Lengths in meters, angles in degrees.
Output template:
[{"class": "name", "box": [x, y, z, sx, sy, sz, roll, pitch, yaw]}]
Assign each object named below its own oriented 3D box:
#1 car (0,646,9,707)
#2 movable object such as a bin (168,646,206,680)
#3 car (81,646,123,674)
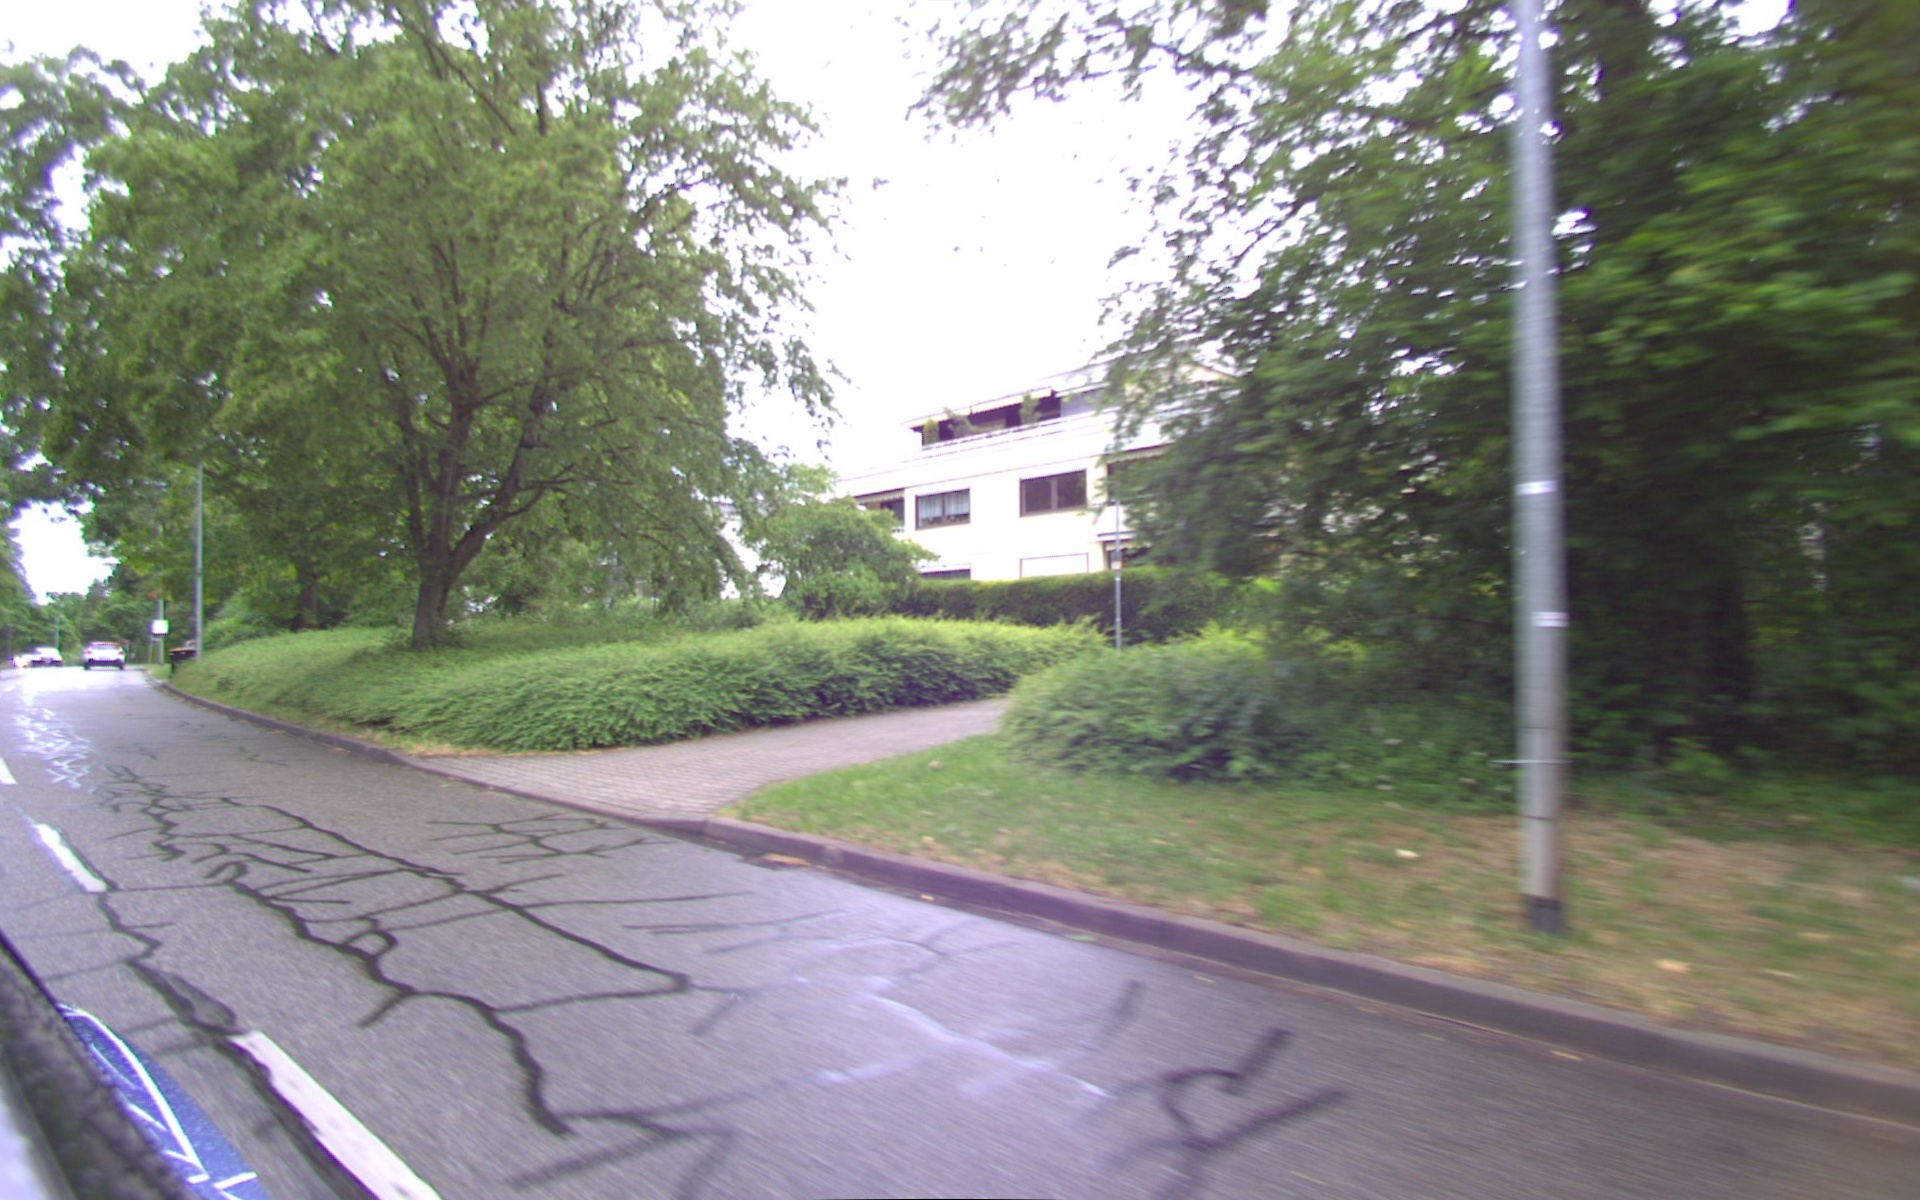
[{"class": "car", "box": [-34.022, 2.668, 34.724, 1.969, 2.029, 4.004, 1, -4, -43]}, {"class": "movable object such as a bin", "box": [-27.307, 2.207, 35.743, 1.024, 1.113, 0.968, -2, -1, -38]}, {"class": "car", "box": [-46.910, 3.274, 55.400, 1.645, 1.488, 3.738, 4, -5, -39]}]
